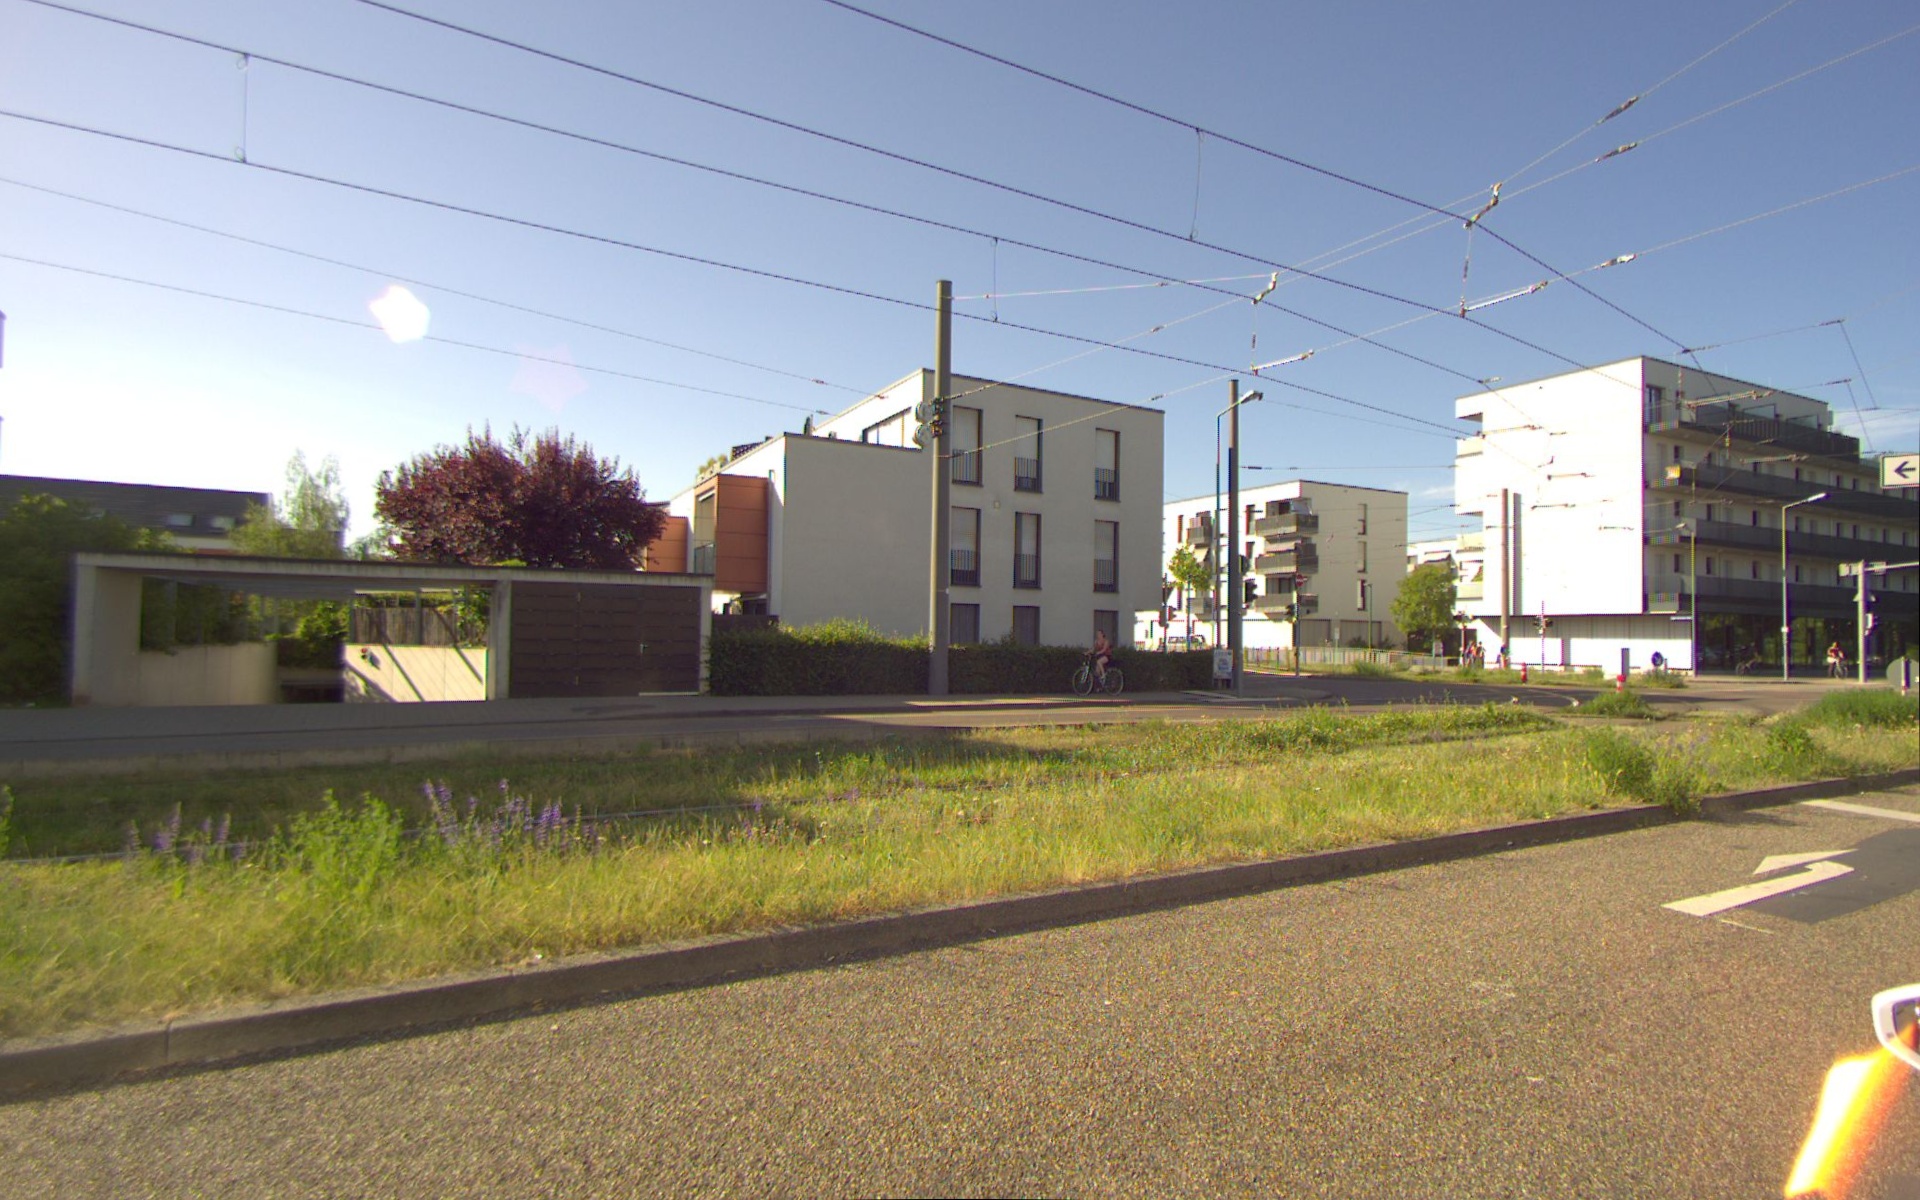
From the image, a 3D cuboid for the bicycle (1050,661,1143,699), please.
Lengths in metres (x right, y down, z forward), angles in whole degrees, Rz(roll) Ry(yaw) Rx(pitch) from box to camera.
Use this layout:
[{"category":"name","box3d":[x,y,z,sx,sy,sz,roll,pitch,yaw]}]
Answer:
[{"category":"bicycle","box3d":[3.515,2.019,25.746,2.460,0.904,0.893,2,-3,-37]}]

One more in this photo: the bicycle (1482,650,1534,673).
[{"category":"bicycle","box3d":[30.199,3.394,55.360,2.783,1.214,0.899,1,-2,-21]}]

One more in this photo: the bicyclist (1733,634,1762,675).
[{"category":"bicyclist","box3d":[40.203,2.778,51.293,0.779,2.040,0.811,1,-2,-1]}]

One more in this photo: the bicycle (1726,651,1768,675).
[{"category":"bicycle","box3d":[40.173,3.218,51.277,1.611,1.159,0.745,1,-2,-2]}]

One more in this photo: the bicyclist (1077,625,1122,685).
[{"category":"bicyclist","box3d":[3.570,1.409,25.802,0.739,1.510,0.883,2,-2,-36]}]

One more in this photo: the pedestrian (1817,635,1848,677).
[{"category":"pedestrian","box3d":[42.791,2.726,49.272,0.752,2.040,0.972,2,-2,-32]}]

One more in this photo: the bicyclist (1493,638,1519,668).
[{"category":"bicyclist","box3d":[30.058,2.931,55.321,0.900,1.613,0.891,1,-2,-21]}]
